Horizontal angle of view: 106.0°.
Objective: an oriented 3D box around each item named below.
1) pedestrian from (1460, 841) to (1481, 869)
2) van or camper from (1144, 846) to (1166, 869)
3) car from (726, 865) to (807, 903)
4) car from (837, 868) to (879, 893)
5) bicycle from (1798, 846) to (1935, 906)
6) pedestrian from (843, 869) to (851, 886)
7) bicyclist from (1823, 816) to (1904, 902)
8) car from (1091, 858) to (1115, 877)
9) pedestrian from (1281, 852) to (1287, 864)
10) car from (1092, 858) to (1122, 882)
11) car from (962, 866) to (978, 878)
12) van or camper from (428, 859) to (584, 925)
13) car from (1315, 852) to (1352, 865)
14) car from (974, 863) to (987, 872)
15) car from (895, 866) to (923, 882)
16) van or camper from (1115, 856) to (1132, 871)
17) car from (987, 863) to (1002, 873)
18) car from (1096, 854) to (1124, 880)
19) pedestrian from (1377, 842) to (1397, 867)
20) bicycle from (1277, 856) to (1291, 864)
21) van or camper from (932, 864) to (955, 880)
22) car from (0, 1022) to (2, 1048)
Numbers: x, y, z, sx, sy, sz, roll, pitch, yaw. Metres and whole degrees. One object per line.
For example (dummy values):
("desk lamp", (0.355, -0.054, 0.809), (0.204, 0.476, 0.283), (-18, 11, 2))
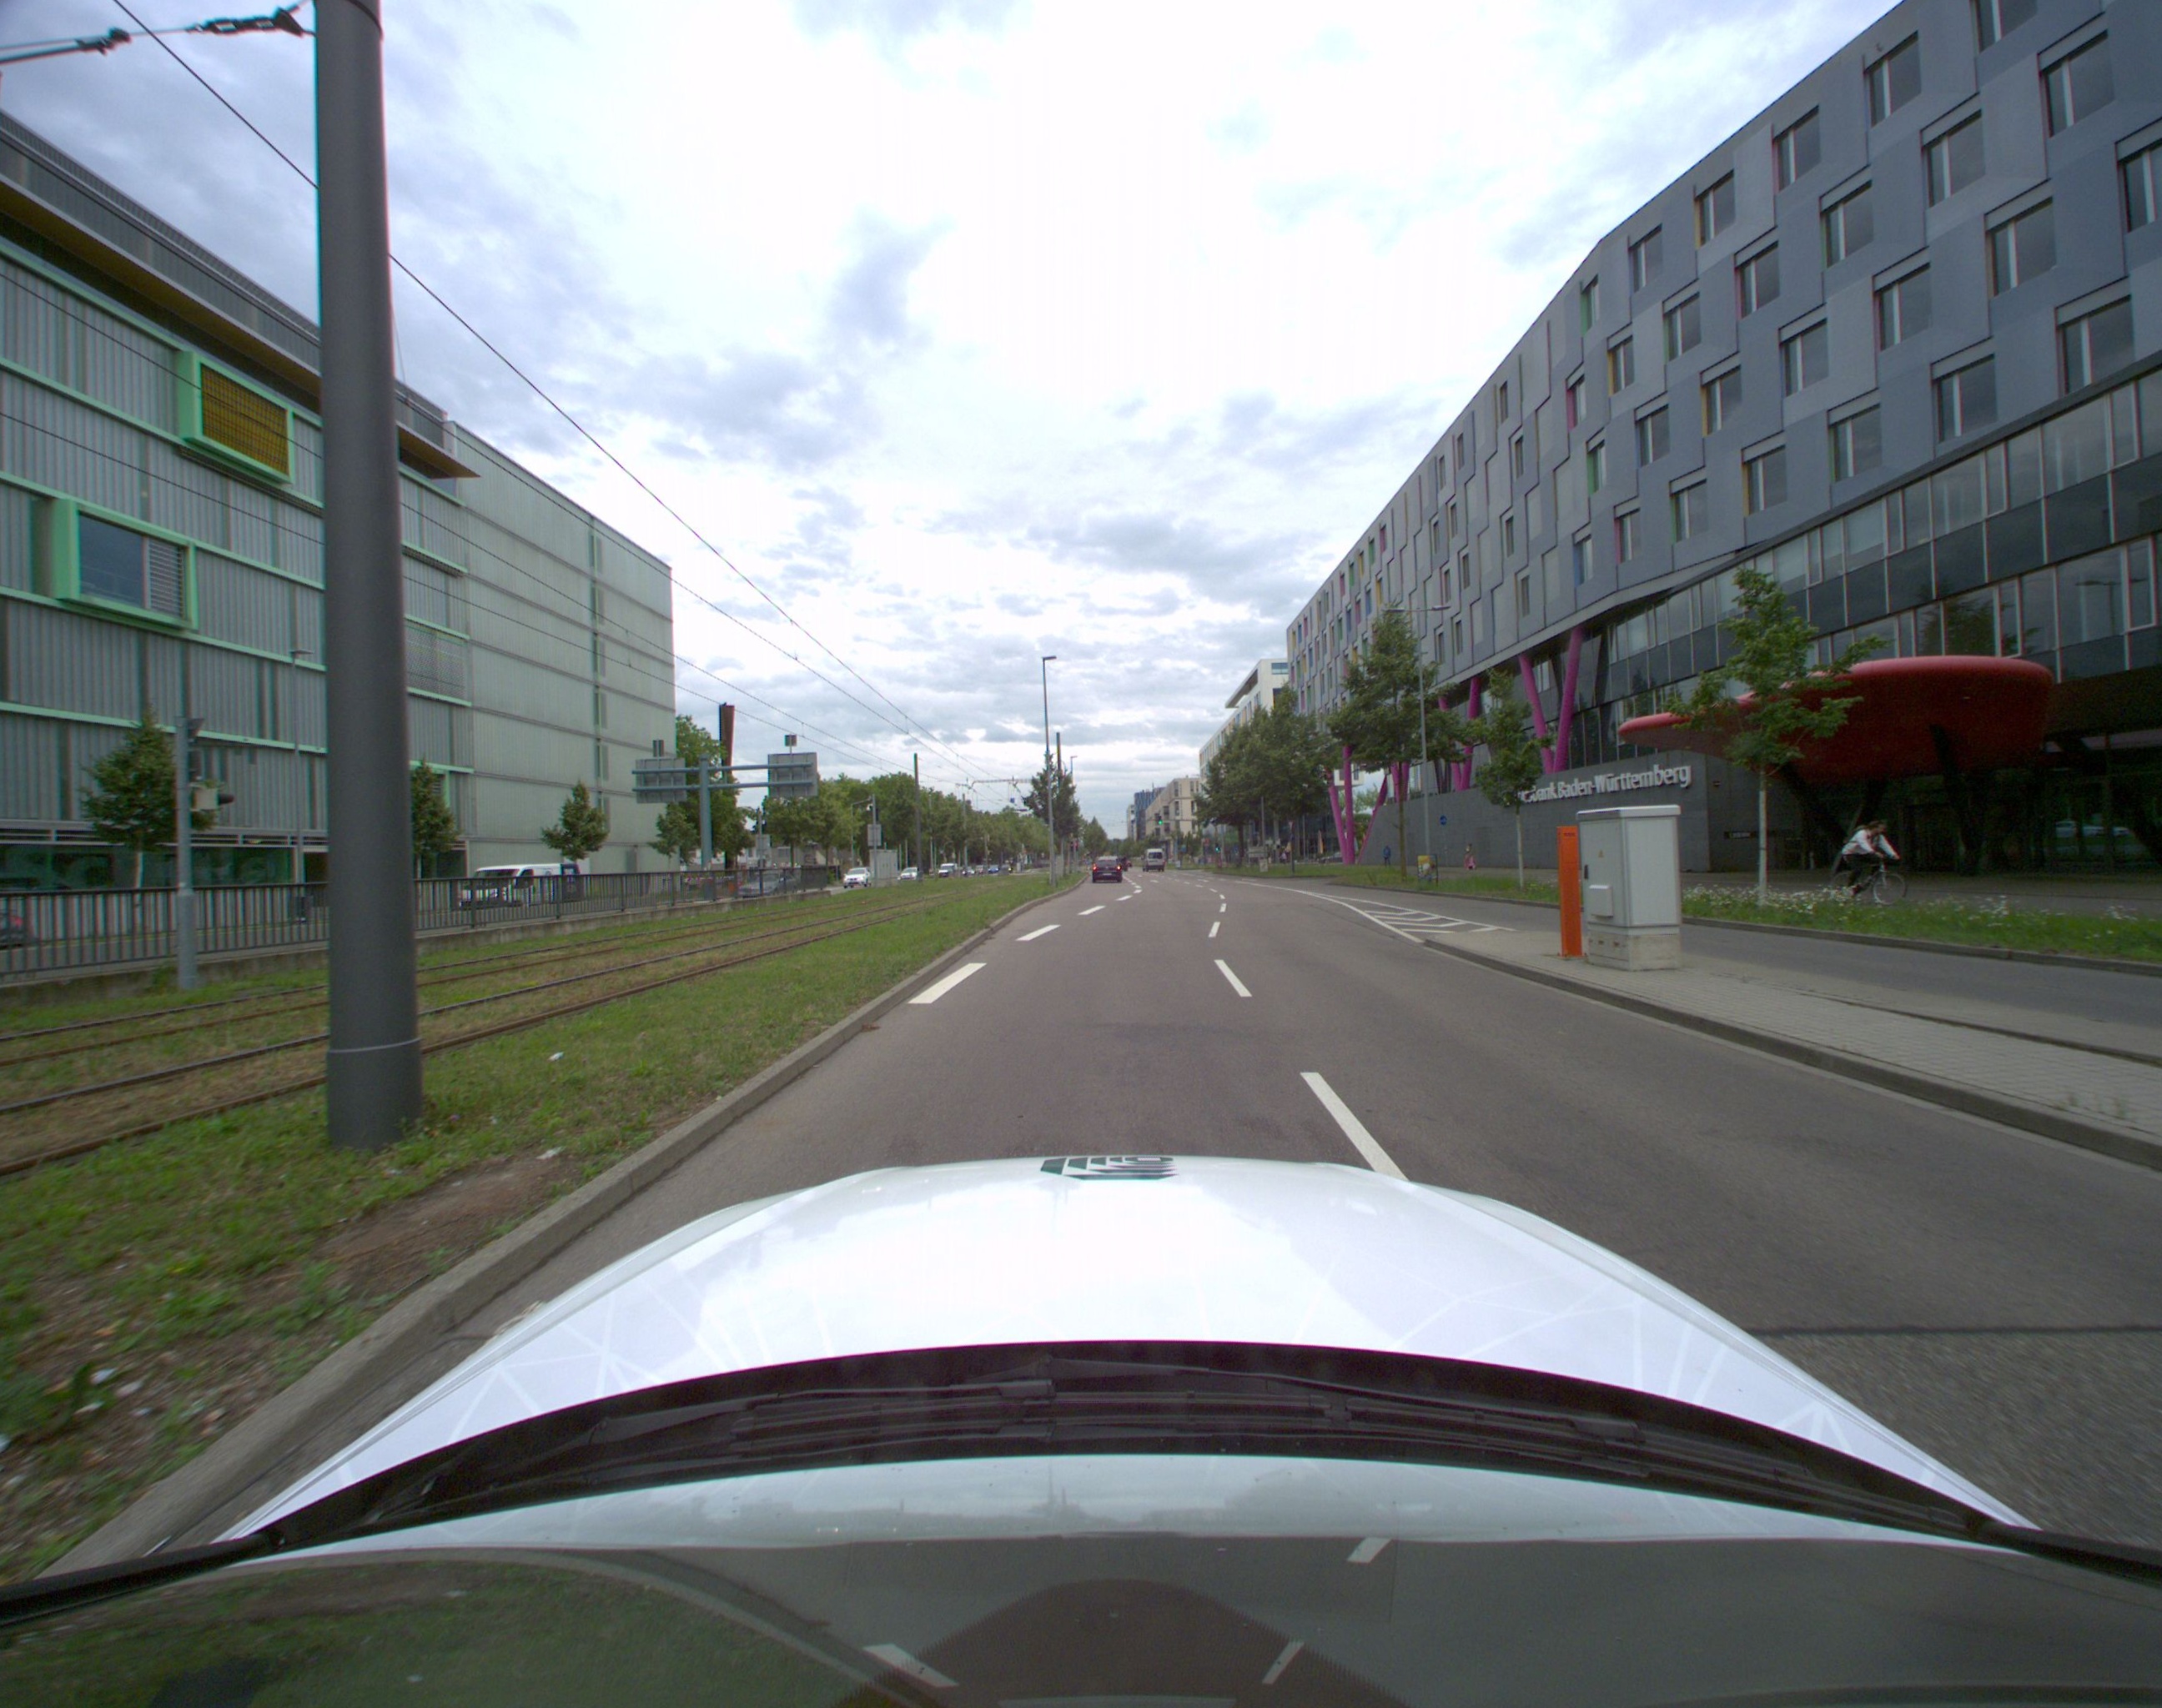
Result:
("pedestrian", (22.730, 0.032, 47.550), (0.781, 1.582, 0.915), (-2, 0, 2))
("van or camper", (8.134, 0.402, 90.117), (2.101, 2.356, 4.926), (-1, 1, 2))
("car", (-14.902, 1.359, 38.884), (1.775, 1.514, 4.973), (-2, 1, 1))
("car", (-16.610, 1.947, 60.890), (1.988, 1.586, 4.375), (-2, 0, -2))
("bicycle", (16.891, 0.441, 17.598), (0.780, 1.194, 2.220), (-2, 0, 0))
("pedestrian", (-26.187, 2.621, 91.078), (0.779, 1.832, 0.771), (-2, -1, -16))
("bicyclist", (16.890, 0.110, 17.602), (0.768, 1.786, 0.974), (-2, 0, -1))
("car", (2.042, 1.182, 74.677), (1.985, 1.682, 4.004), (-1, 0, 4))
("pedestrian", (27.271, 0.532, 109.617), (0.612, 1.604, 0.619), (-2, -1, 4))
("car", (1.549, 0.934, 49.176), (1.737, 1.417, 4.000), (-1, 0, 1))
("car", (-15.975, 2.569, 117.113), (1.724, 1.445, 4.917), (-4, 0, -3))
("van or camper", (-22.440, 1.380, 32.149), (2.165, 2.286, 5.360), (-2, 0, 2))
("car", (33.357, 0.610, 107.634), (4.233, 1.615, 1.759), (-2, -1, 3))
("car", (-17.648, 2.415, 143.448), (1.790, 1.571, 4.577), (0, -1, 0))
("car", (-17.703, 1.999, 83.965), (1.756, 1.479, 4.574), (-3, 0, 1))
("van or camper", (5.071, 1.125, 97.655), (1.986, 1.615, 4.792), (-1, 1, 2))
("car", (-14.986, 2.409, 140.688), (1.957, 1.588, 4.689), (-1, 0, 1))
("car", (1.971, 0.875, 55.593), (1.796, 1.624, 4.001), (-2, -1, 2))
("pedestrian", (22.334, 0.005, 59.467), (1.047, 1.770, 1.137), (-2, 0, 2))
("bicycle", (27.316, 0.798, 109.612), (1.784, 1.085, 0.618), (-2, -1, 3))
("van or camper", (-17.100, 2.200, 101.687), (1.883, 1.900, 5.124), (-3, -1, 0))
("car", (-15.478, 1.888, 8.365), (1.987, 1.762, 4.973), (-1, 4, 0))
